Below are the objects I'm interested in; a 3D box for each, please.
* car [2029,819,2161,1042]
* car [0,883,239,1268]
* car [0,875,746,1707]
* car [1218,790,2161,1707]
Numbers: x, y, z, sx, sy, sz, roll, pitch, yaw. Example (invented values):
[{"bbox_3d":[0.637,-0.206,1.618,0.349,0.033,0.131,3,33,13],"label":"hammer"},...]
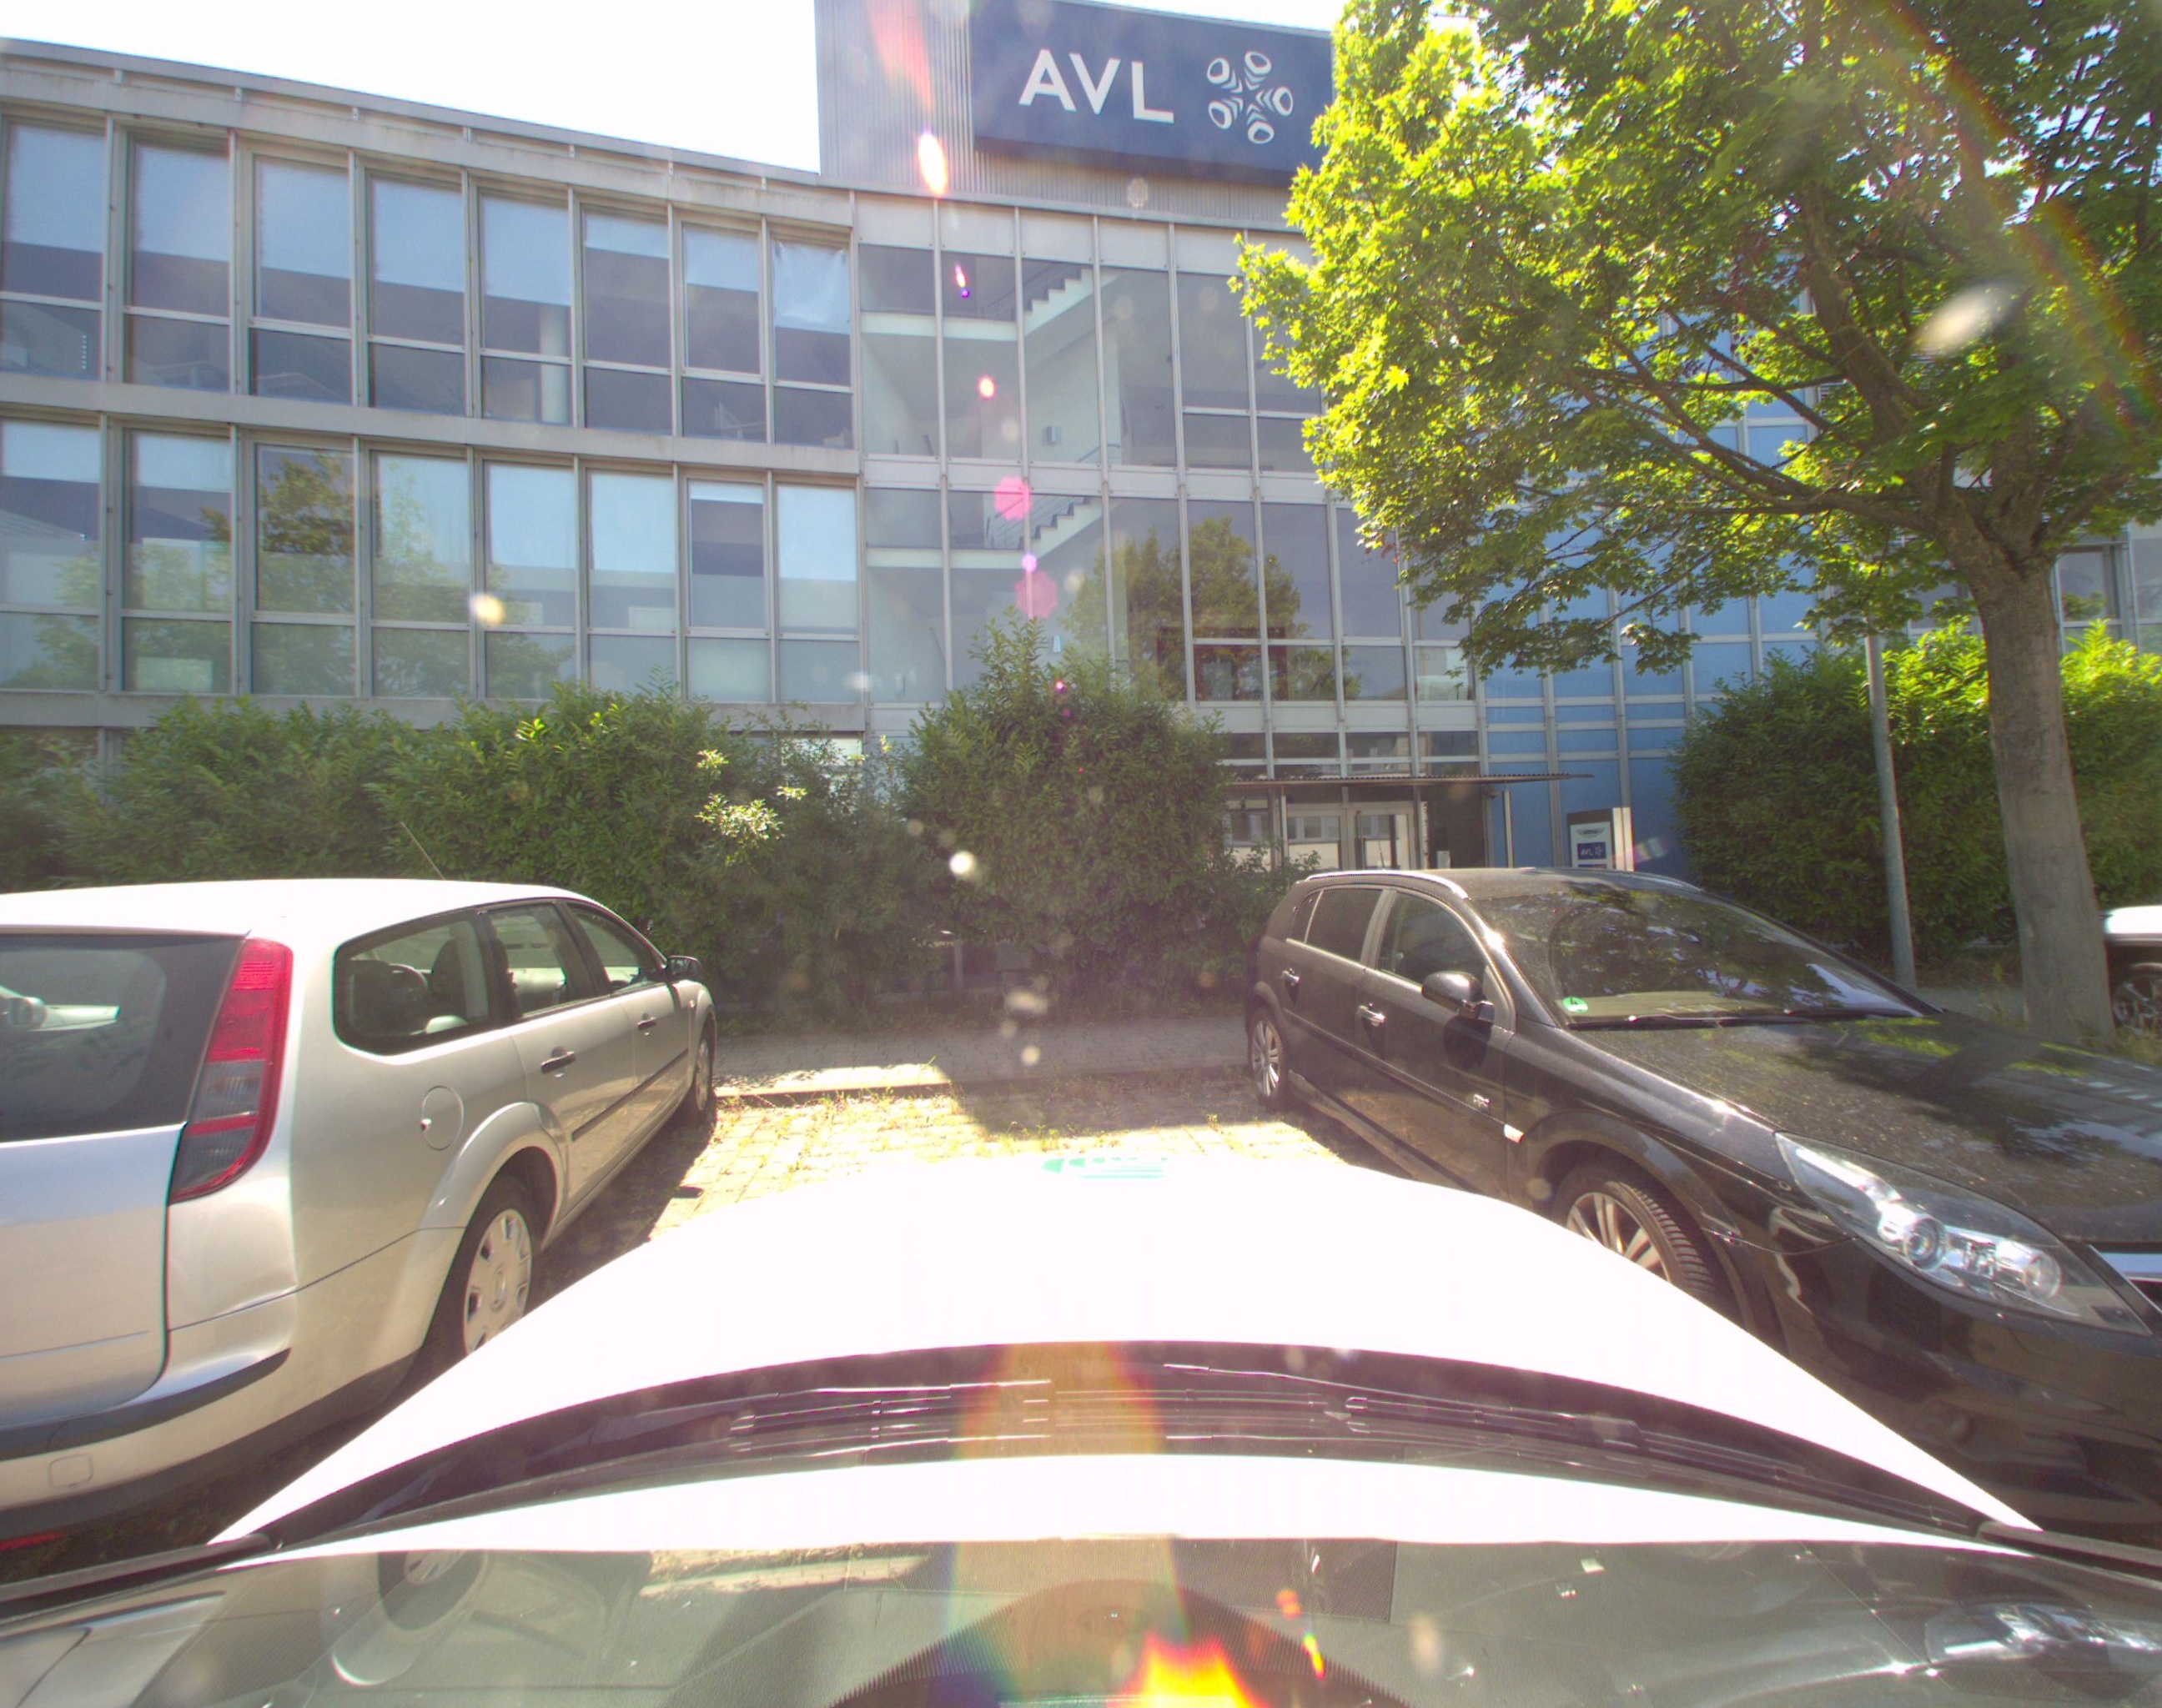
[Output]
[{"bbox_3d":[8.988,0.542,4.697,1.848,1.643,4.325,-1,0,-5],"label":"car"},{"bbox_3d":[-4.805,0.852,2.240,1.650,1.479,3.872,-1,-1,-15],"label":"car"},{"bbox_3d":[-2.733,0.844,3.346,1.720,1.479,4.330,-1,-1,-12],"label":"car"},{"bbox_3d":[2.149,0.712,3.731,1.756,1.549,4.553,-1,-1,-7],"label":"car"}]
